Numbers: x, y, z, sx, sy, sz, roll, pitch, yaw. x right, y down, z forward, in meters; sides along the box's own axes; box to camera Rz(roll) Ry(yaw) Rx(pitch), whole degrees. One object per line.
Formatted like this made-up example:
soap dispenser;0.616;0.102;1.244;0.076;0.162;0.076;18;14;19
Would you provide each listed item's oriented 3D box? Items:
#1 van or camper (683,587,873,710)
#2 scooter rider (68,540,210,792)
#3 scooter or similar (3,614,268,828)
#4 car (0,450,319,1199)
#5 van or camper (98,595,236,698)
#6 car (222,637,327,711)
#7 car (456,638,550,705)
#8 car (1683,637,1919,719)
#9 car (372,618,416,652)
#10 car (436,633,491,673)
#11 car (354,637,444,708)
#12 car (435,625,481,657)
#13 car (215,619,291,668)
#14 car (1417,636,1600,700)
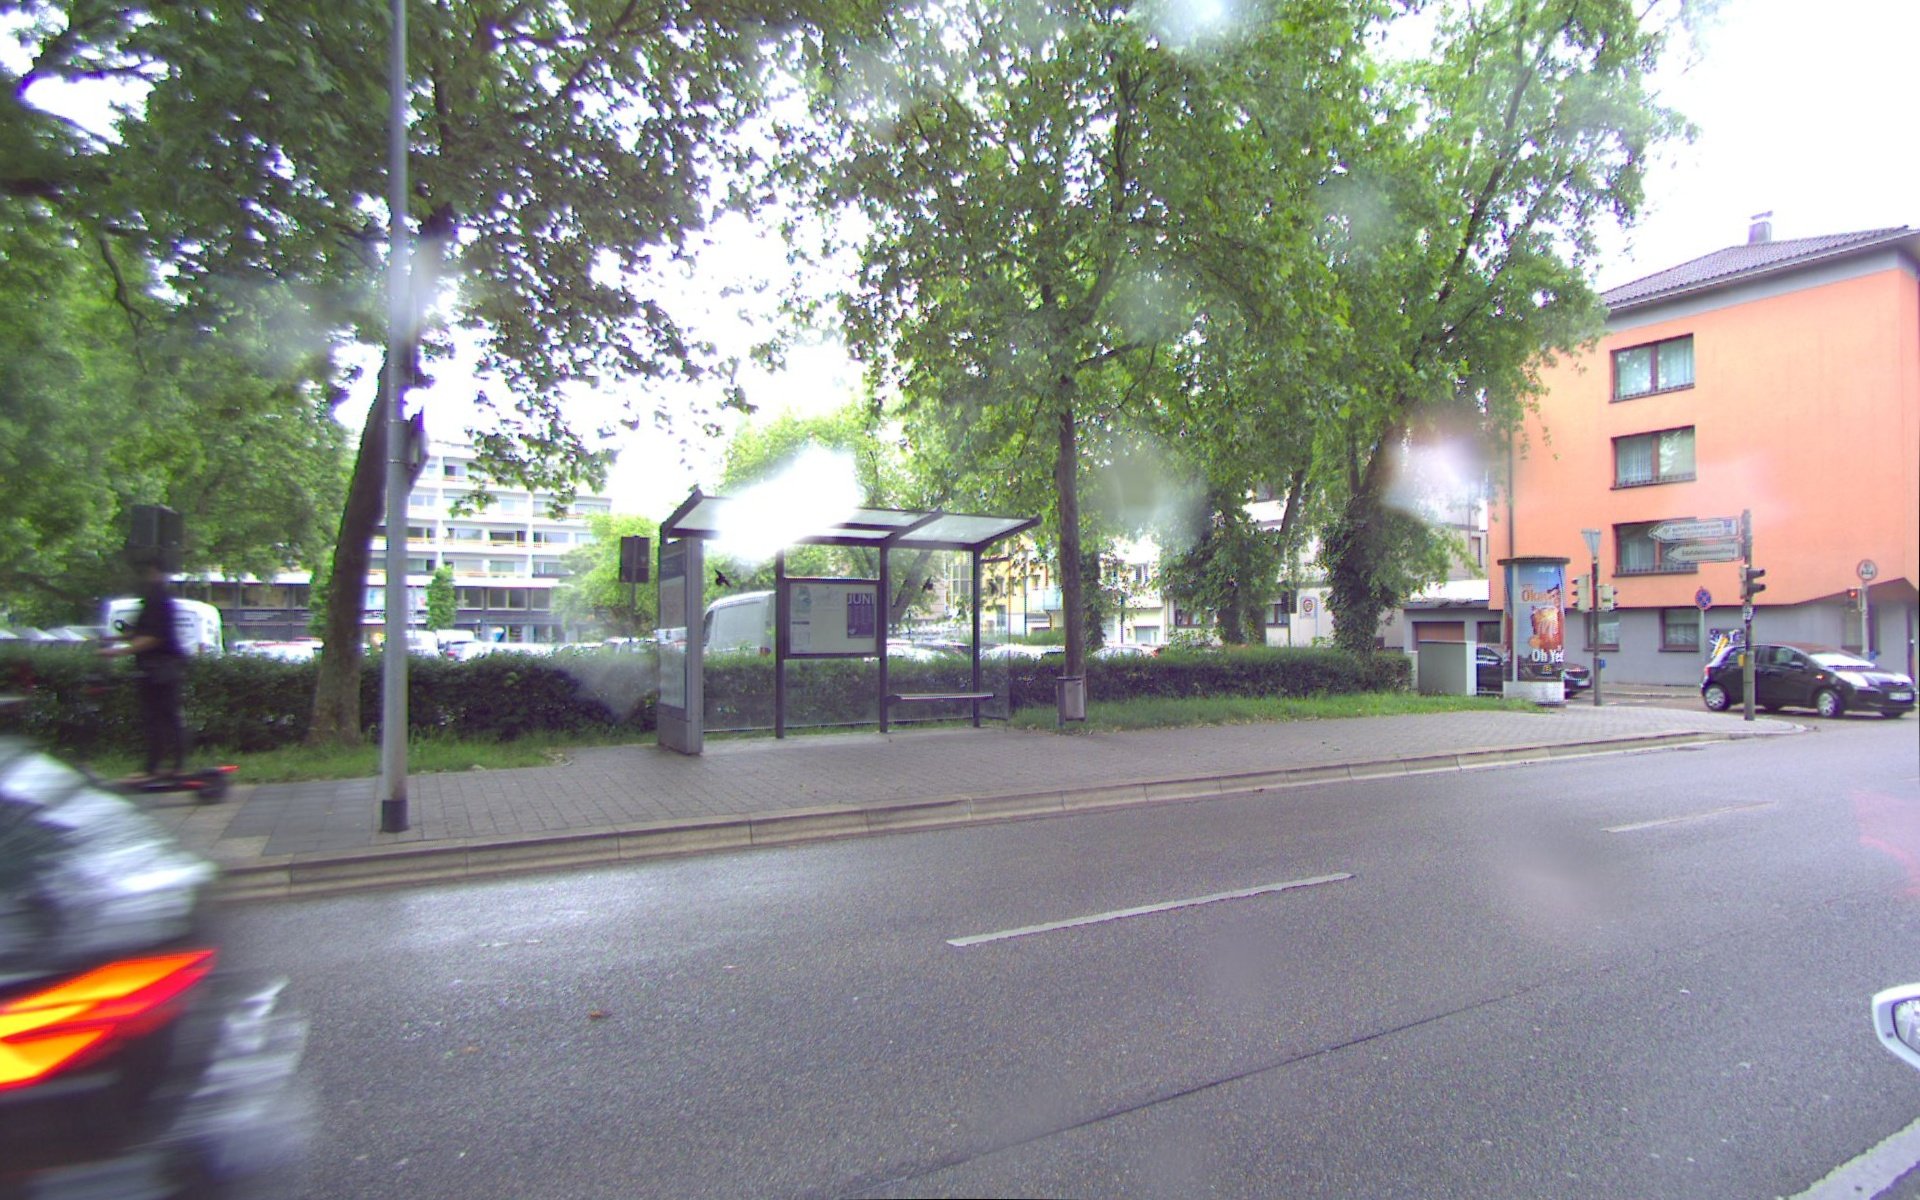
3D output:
van or camper;-3.511;0.864;18.634;1.978;1.975;4.572;1;-2;-31
scooter rider;-6.186;0.485;7.613;0.637;1.789;0.730;2;-2;-29
scooter or similar;-6.156;0.867;7.615;1.382;1.464;0.810;2;-2;-31
car;-3.200;0.640;1.116;4.090;1.646;1.837;1;-3;-31
van or camper;-20.707;1.202;26.452;2.073;2.463;4.310;1;-2;-28
car;-16.880;1.756;24.898;1.876;1.506;3.966;2;0;-31
car;-12.537;1.888;27.407;1.876;1.506;3.966;2;0;-31
car;17.743;1.580;21.199;1.769;1.553;3.861;0;-3;-11
car;-32.496;2.007;57.611;2.075;1.745;3.966;2;0;-31
car;-22.128;2.317;44.686;1.876;1.506;3.966;2;0;-31
car;-14.630;1.824;26.115;1.876;1.506;3.966;2;0;-31
car;-26.986;2.173;53.940;1.876;1.506;3.966;2;0;-31
car;-25.075;1.511;35.737;1.876;1.506;3.966;2;0;-31
car;15.598;1.906;28.763;1.711;1.700;4.271;1;-3;-36
